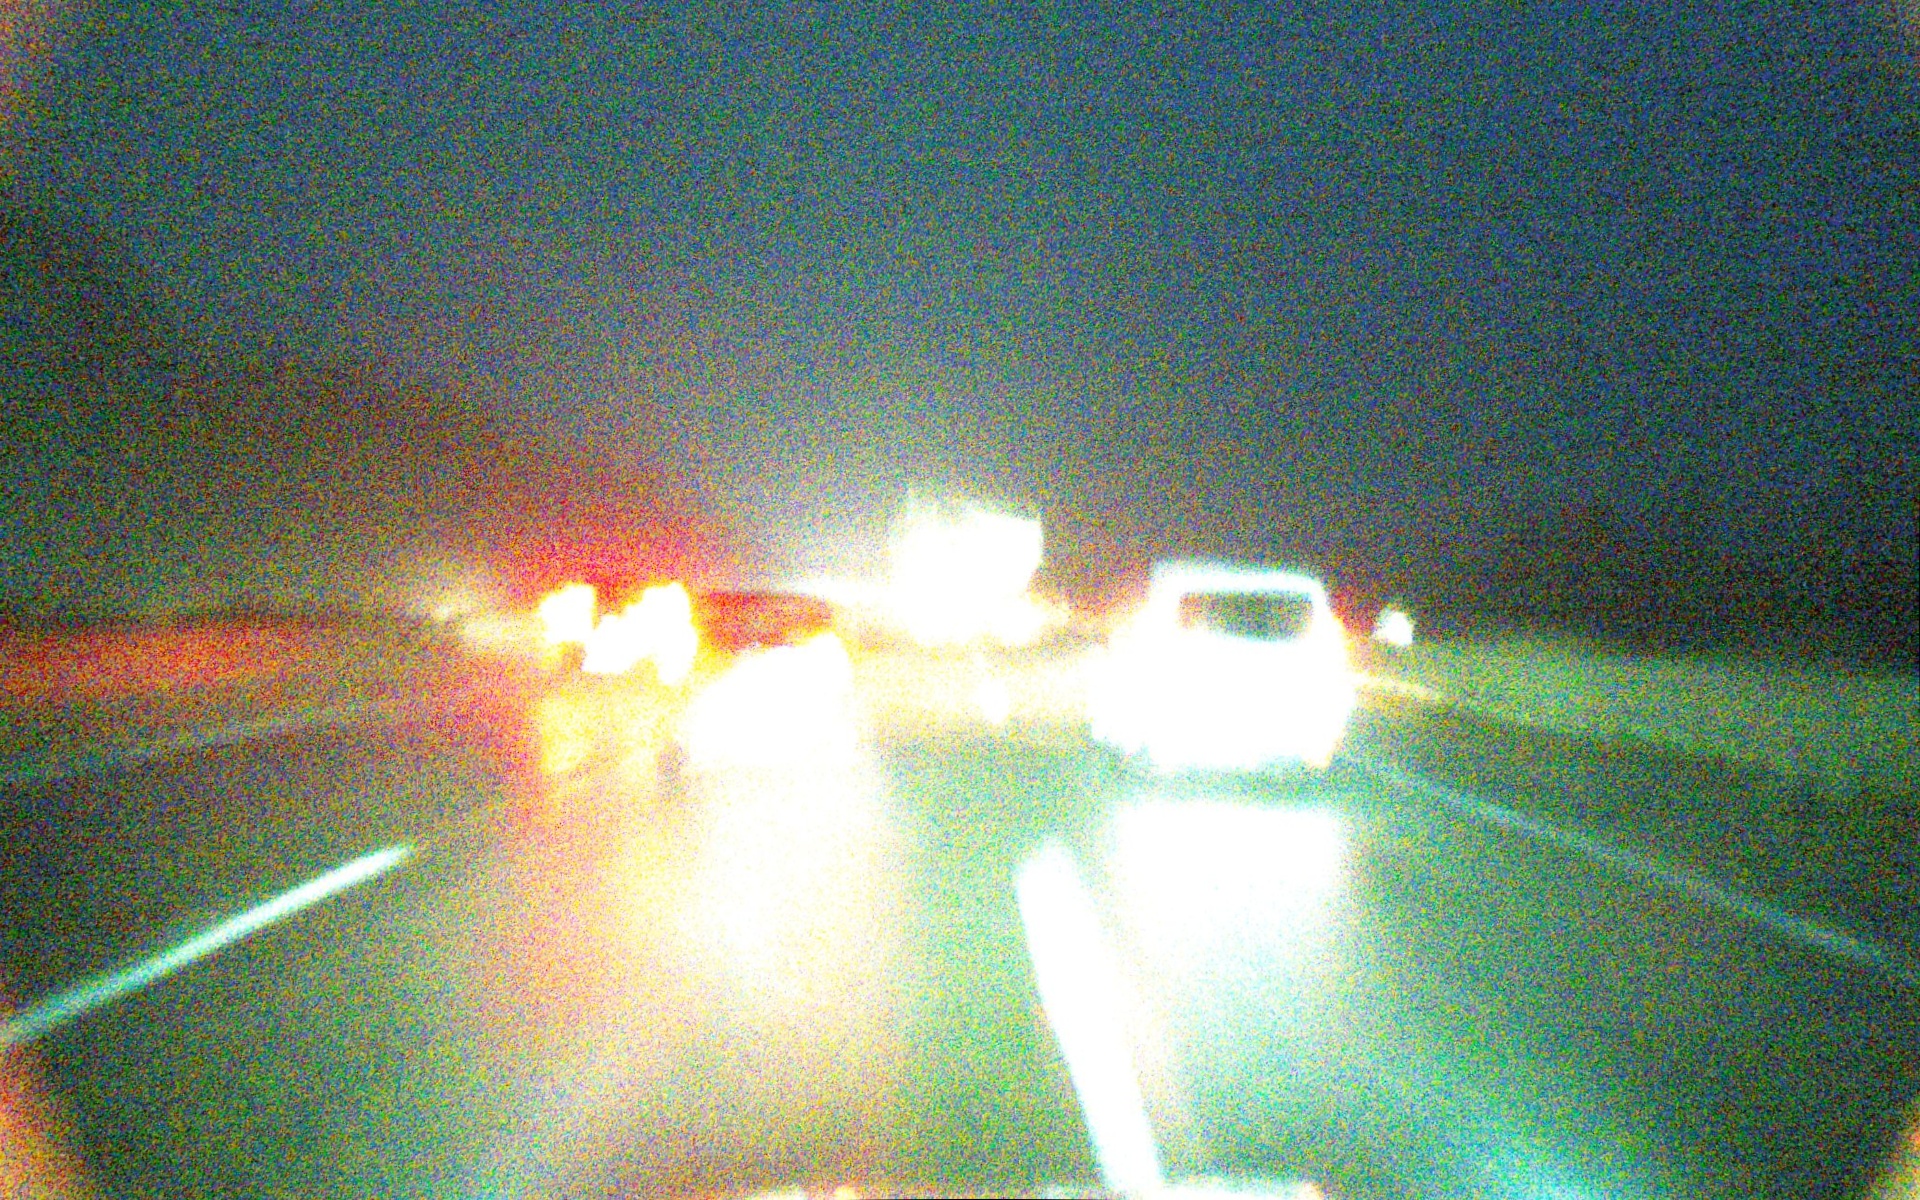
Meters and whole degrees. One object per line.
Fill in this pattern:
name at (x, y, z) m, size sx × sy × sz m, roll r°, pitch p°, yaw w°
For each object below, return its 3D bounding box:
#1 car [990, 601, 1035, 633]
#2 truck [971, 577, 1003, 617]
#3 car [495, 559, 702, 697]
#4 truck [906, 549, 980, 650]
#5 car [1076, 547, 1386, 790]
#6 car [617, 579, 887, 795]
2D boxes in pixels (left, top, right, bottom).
car at (2.461, 0.799, 78.057) m, size 1.851 × 1.378 × 3.999 m, roll 3°, pitch 0°, yaw -1°
truck at (3.512, -0.288, 216.568) m, size 3.746 × 5.001 × 11.603 m, roll -2°, pitch -1°, yaw -1°
car at (-5.225, 0.400, 24.605) m, size 1.953 × 1.808 × 4.887 m, roll -1°, pitch -1°, yaw 0°
truck at (-1.024, 0.040, 99.938) m, size 4.082 × 5.641 × 13.071 m, roll -1°, pitch -1°, yaw -1°
car at (2.265, 0.548, 15.272) m, size 1.913 × 1.823 × 5.123 m, roll -1°, pitch -1°, yaw -1°
car at (-1.690, 0.686, 14.797) m, size 1.877 × 1.622 × 4.232 m, roll -1°, pitch -1°, yaw 0°
